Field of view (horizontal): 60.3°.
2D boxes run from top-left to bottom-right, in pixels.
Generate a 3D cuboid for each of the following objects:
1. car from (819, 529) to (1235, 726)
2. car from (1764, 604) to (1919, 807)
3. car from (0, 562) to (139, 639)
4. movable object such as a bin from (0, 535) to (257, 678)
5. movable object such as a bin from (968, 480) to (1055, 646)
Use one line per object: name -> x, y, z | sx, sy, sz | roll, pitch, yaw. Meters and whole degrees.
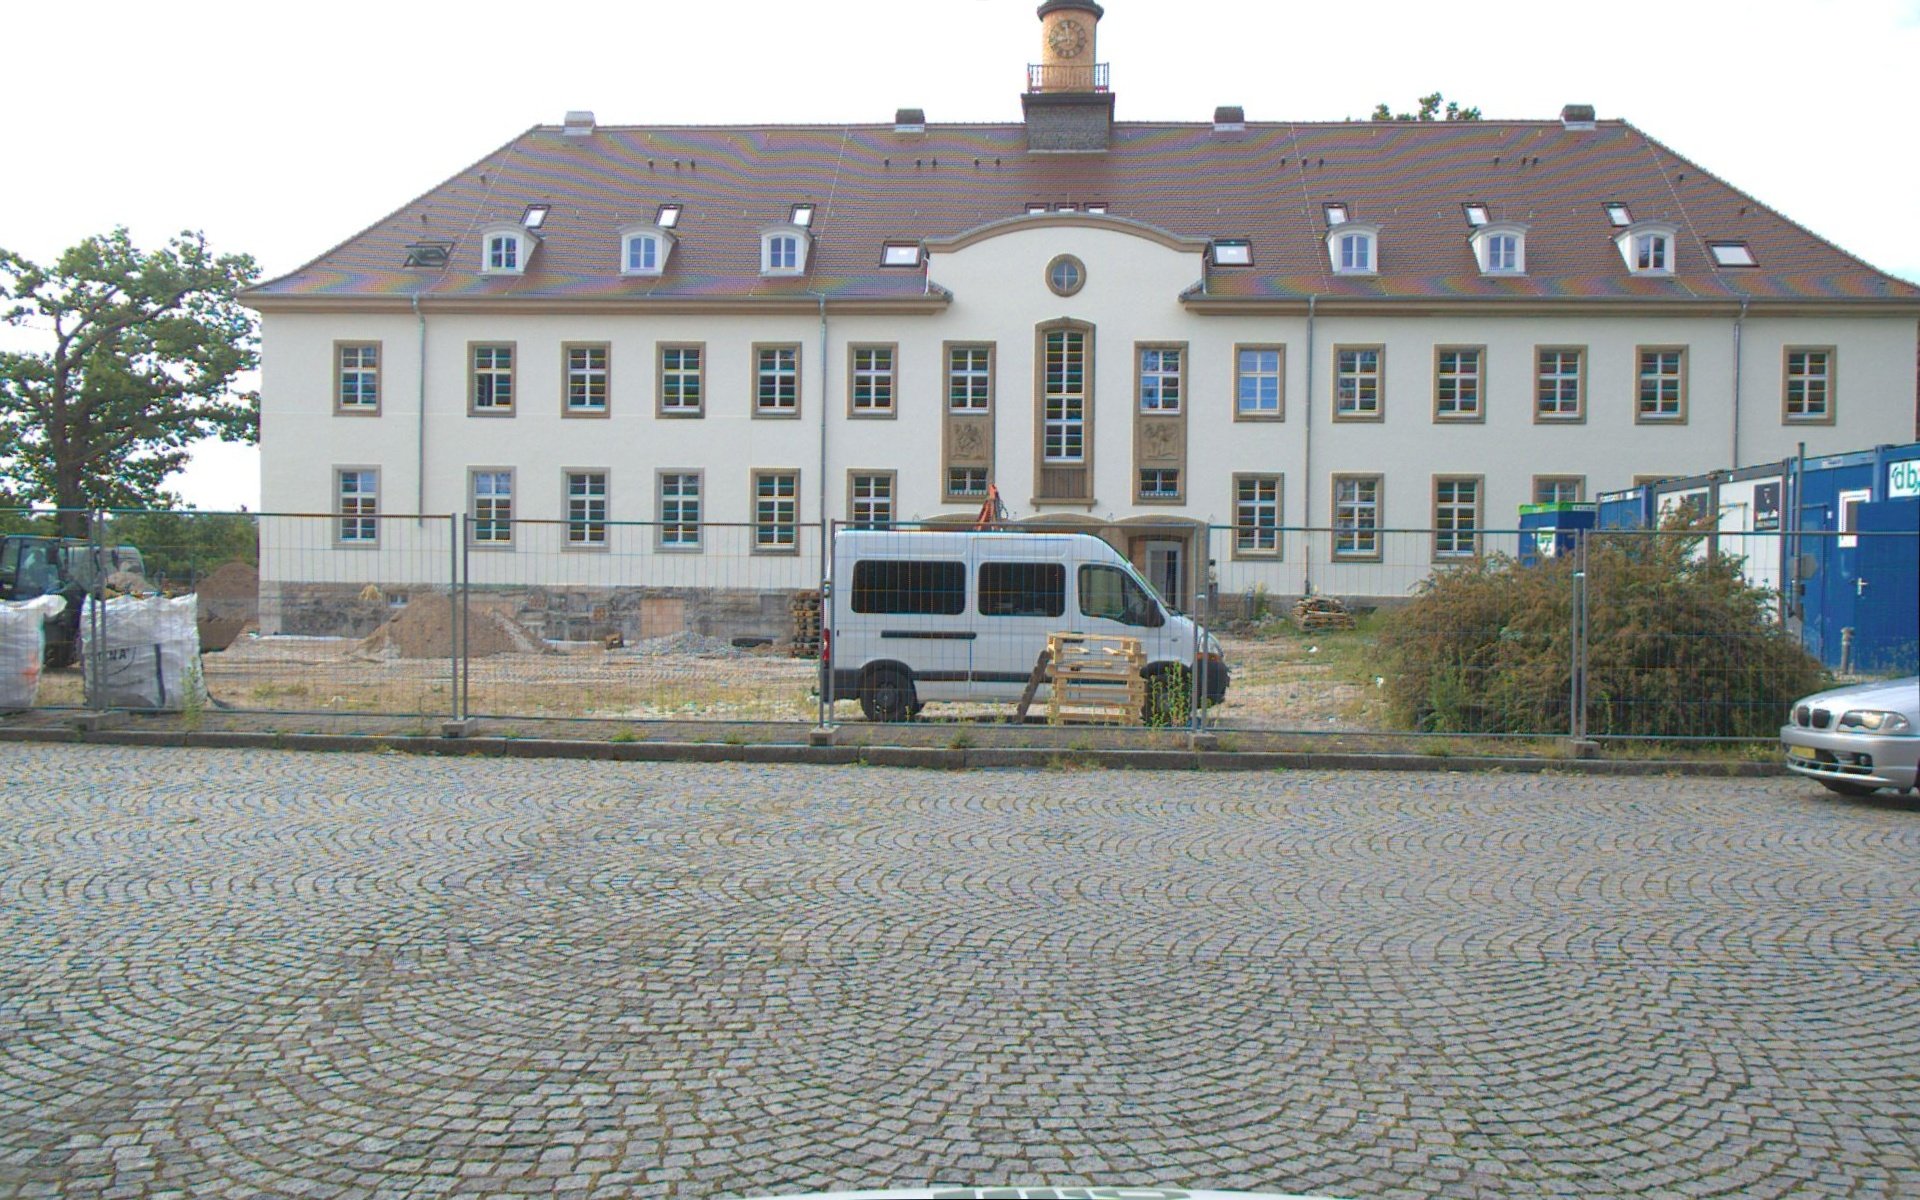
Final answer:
car -> 0.891, 0.320, 21.545 | 5.151, 2.385, 1.911 | 1, 0, 5
car -> 8.294, 0.747, 11.958 | 4.192, 1.370, 1.607 | 1, -1, 1
car -> -26.834, -0.011, 49.705 | 2.026, 2.188, 4.896 | 0, 0, -3
movable object such as a bin -> -16.435, 0.104, 31.476 | 5.218, 2.601, 2.001 | 1, 0, 2
movable object such as a bin -> 1.220, -0.881, 41.227 | 1.953, 3.837, 5.317 | 1, 0, 0
